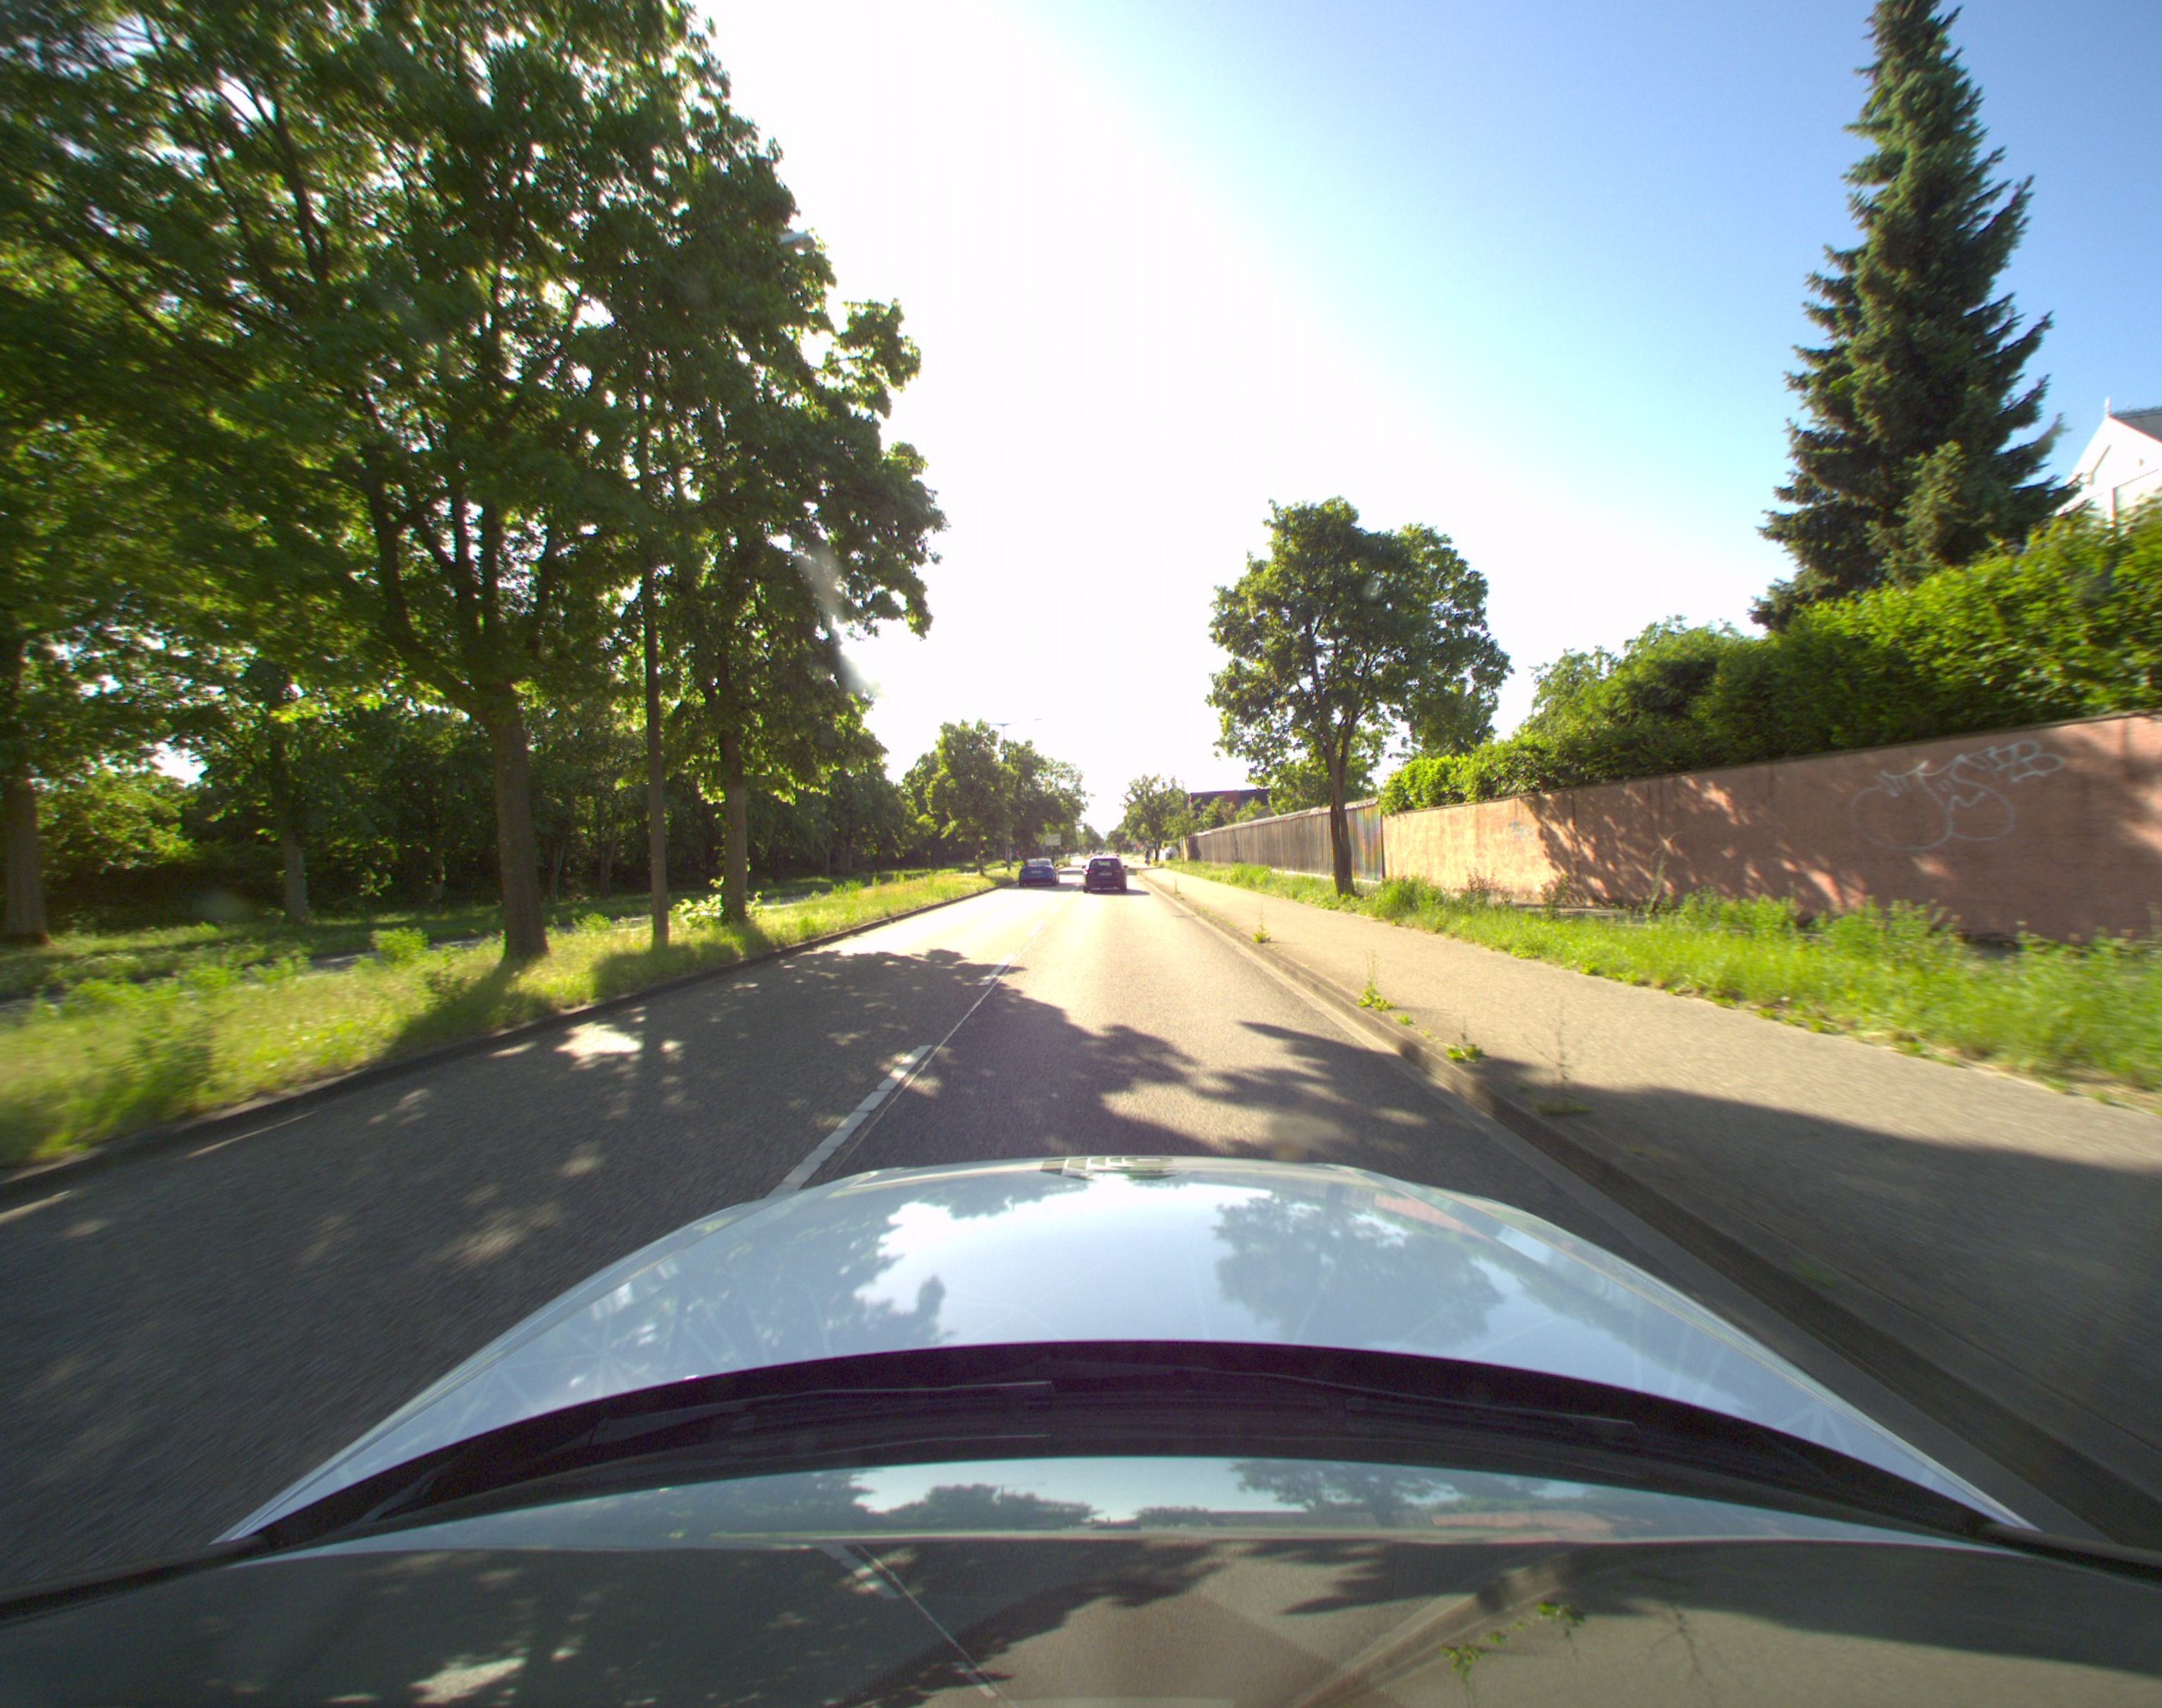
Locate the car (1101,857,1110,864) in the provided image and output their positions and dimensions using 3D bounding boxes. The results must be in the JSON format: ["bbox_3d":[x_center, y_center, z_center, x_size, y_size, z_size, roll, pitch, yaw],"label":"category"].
[{"bbox_3d":[5.229,1.357,173.820,1.726,1.585,3.841,0,-1,1],"label":"car"}]

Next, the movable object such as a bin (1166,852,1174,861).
[{"bbox_3d":[13.131,0.337,120.095,0.996,1.205,1.065,-4,-1,9],"label":"movable object such as a bin"}]

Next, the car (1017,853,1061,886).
[{"bbox_3d":[-2.119,0.789,42.228,1.881,1.552,4.002,-3,-1,2],"label":"car"}]

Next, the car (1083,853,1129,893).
[{"bbox_3d":[1.039,0.768,33.526,1.749,1.509,3.810,-2,-1,2],"label":"car"}]

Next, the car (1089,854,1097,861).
[{"bbox_3d":[2.956,0.848,200.103,1.818,1.615,3.841,0,-1,1],"label":"car"}]

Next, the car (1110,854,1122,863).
[{"bbox_3d":[5.747,0.721,133.203,1.724,1.459,3.846,-2,0,5],"label":"car"}]

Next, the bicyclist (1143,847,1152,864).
[{"bbox_3d":[6.422,0.158,78.952,0.626,1.632,0.984,-6,0,9],"label":"bicyclist"}]

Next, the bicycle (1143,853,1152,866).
[{"bbox_3d":[6.470,0.542,78.972,0.570,1.155,2.146,-6,0,9],"label":"bicycle"}]
